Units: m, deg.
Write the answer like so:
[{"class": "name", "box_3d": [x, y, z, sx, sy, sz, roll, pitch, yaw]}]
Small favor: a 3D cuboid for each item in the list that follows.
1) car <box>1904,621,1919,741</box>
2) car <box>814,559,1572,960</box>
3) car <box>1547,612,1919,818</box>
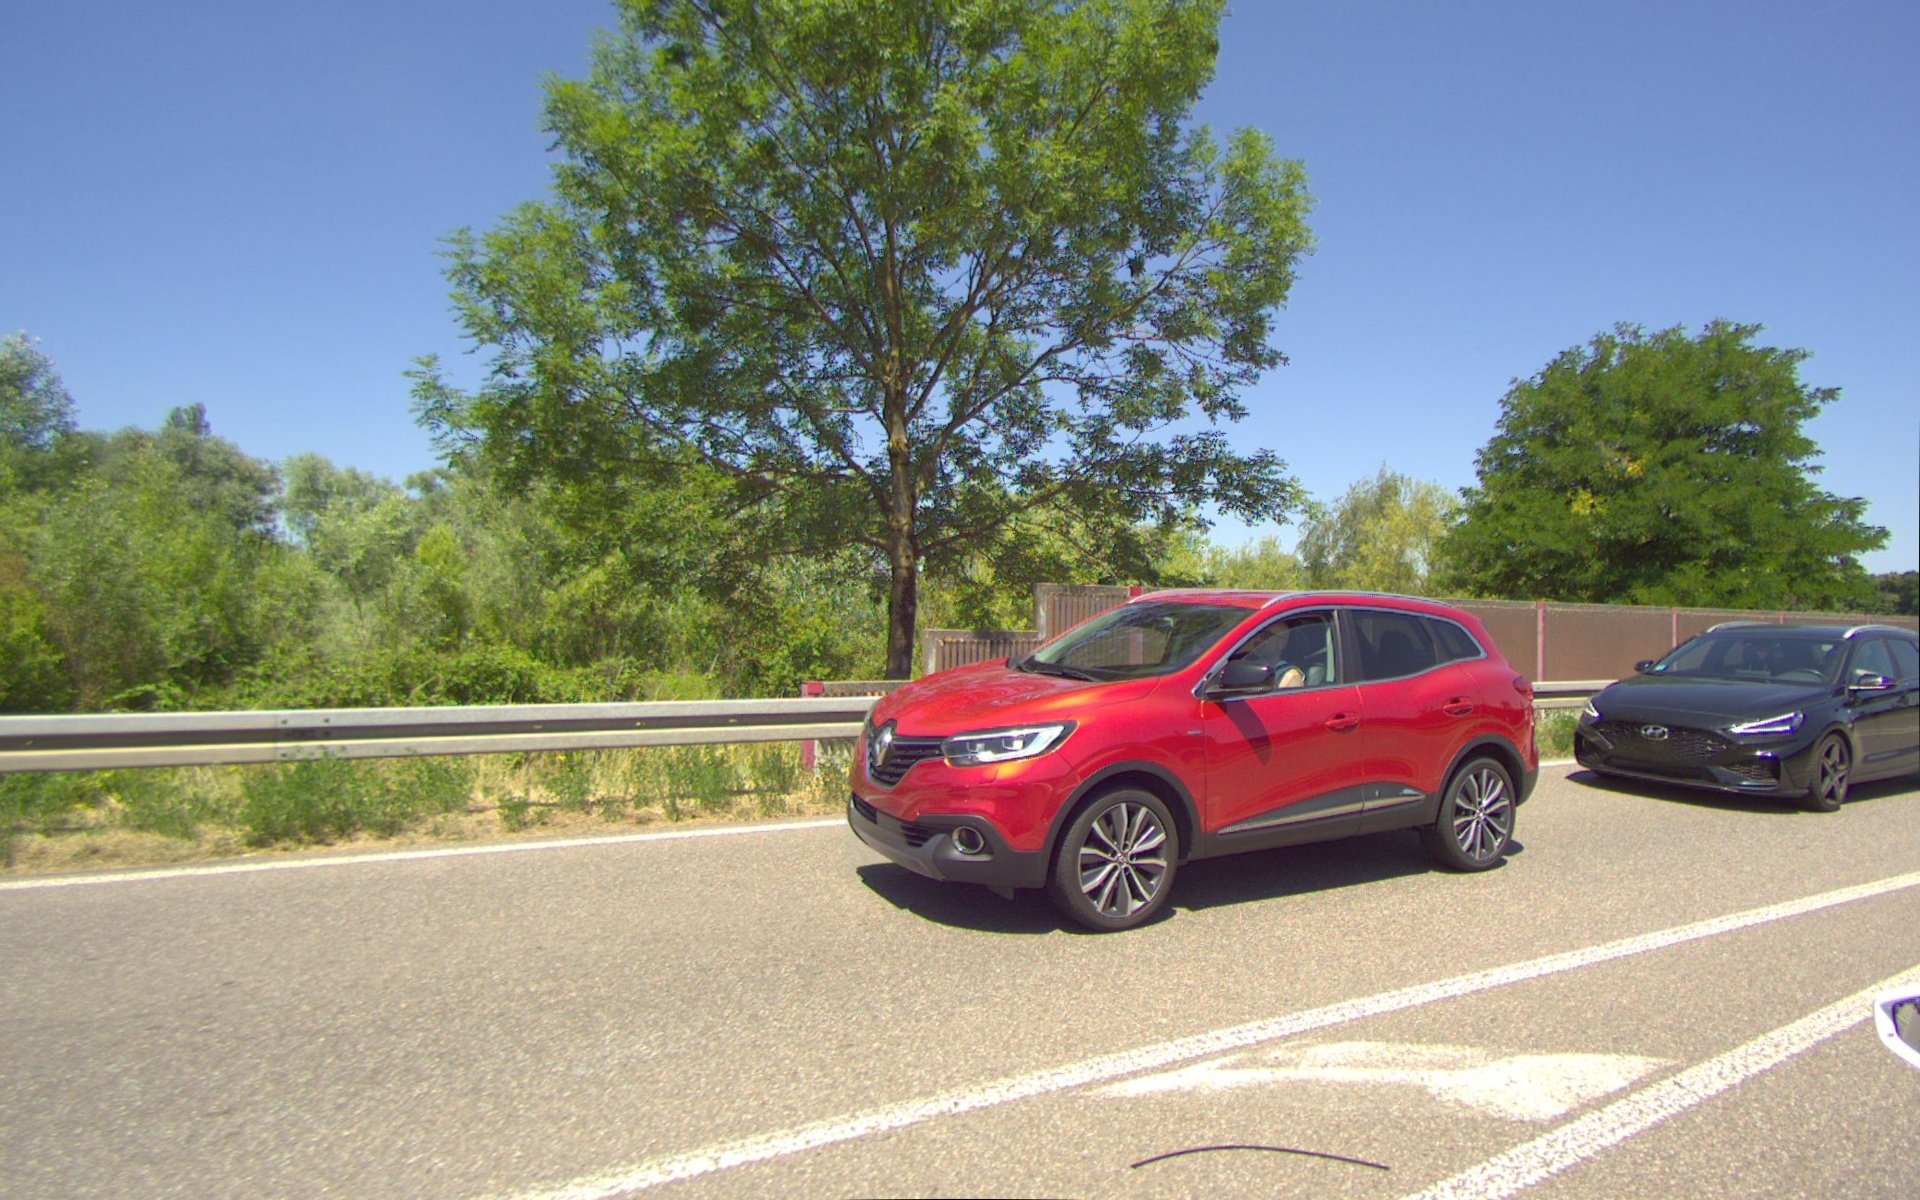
[{"class": "car", "box_3d": [14.222, 1.078, 12.941, 4.560, 1.479, 1.678, 2, 0, -29]}, {"class": "car", "box_3d": [1.446, 0.695, 5.907, 4.225, 1.653, 1.749, 1, 0, -28]}, {"class": "car", "box_3d": [7.617, 0.914, 9.259, 4.559, 1.479, 1.678, 2, 0, -29]}]
